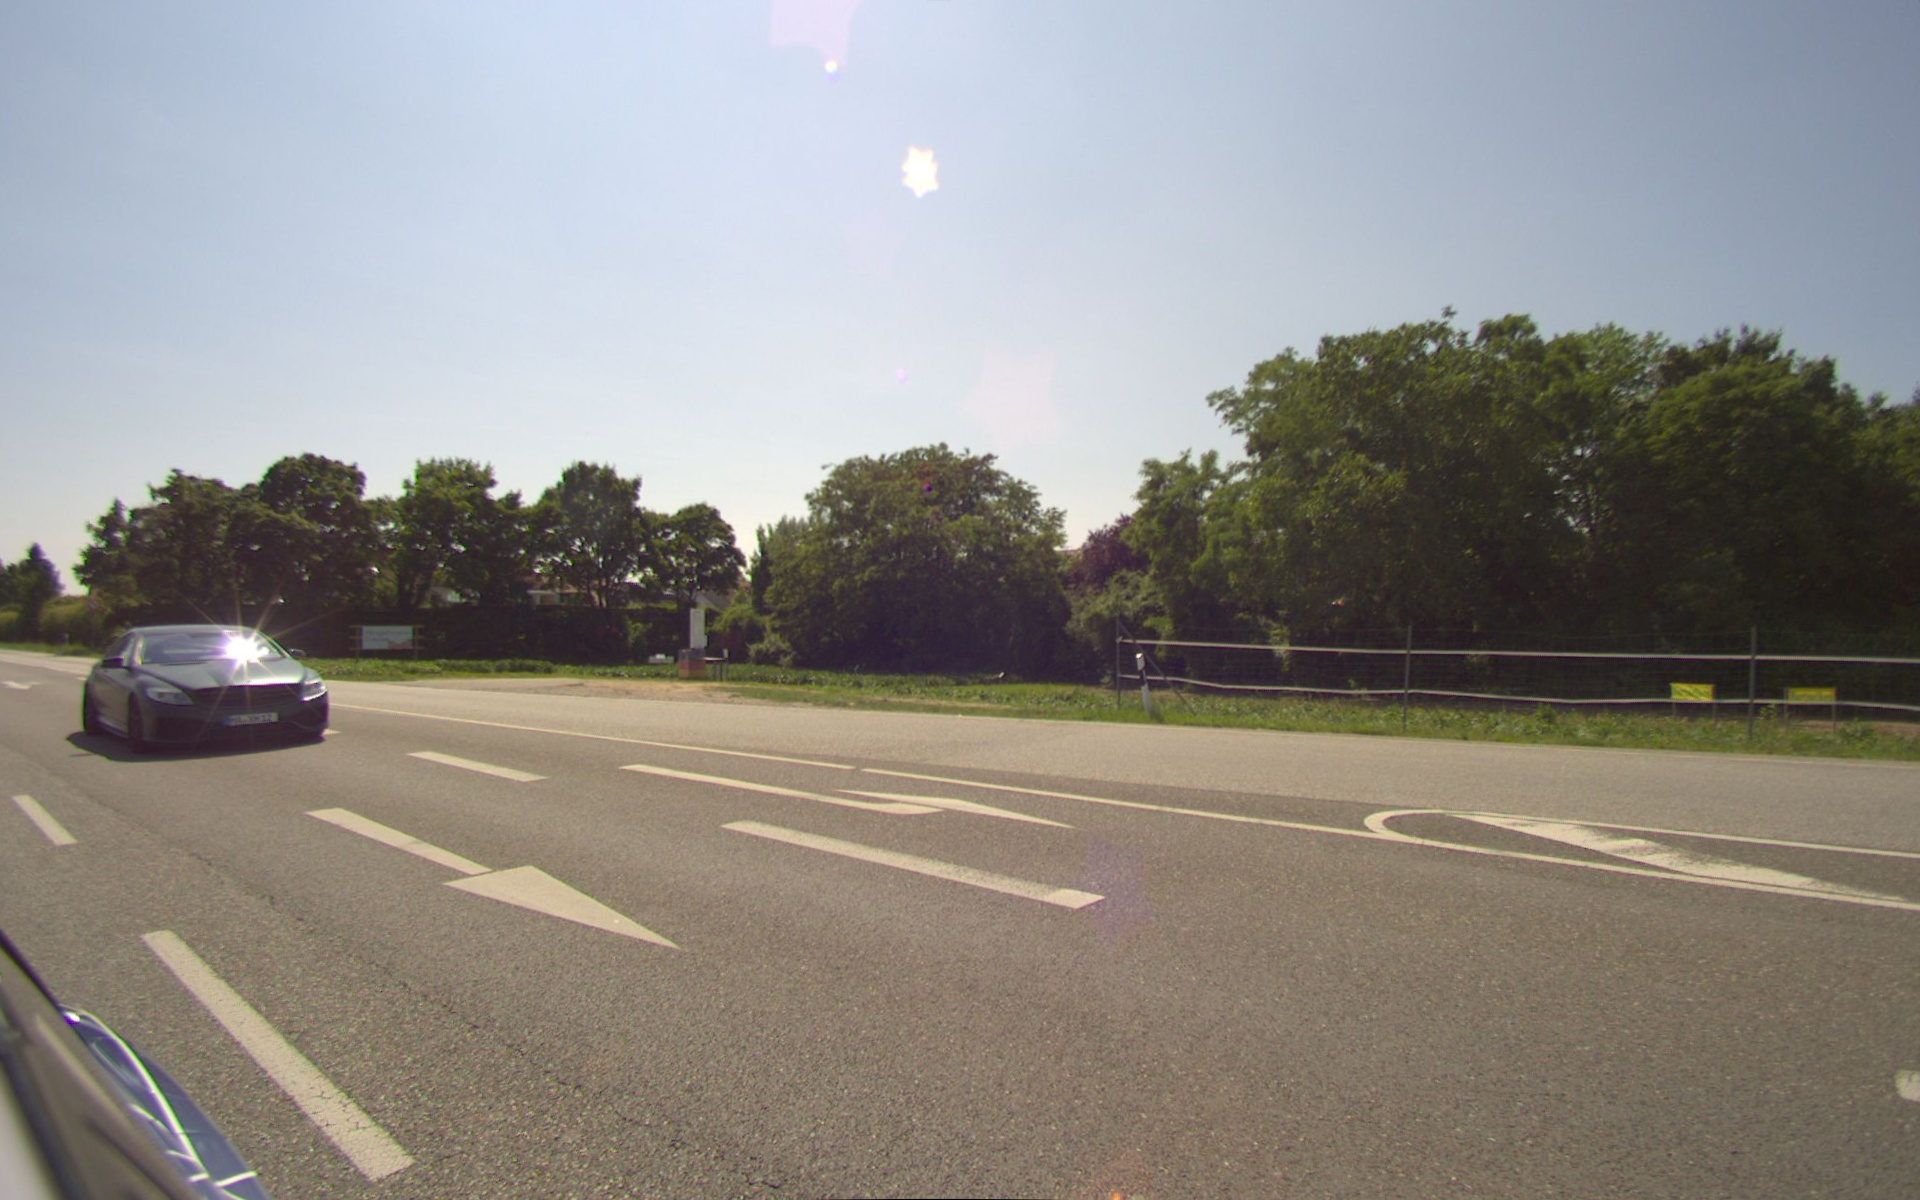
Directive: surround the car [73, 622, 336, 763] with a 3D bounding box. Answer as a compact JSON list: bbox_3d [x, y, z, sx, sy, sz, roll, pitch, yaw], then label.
[{"bbox_3d":[-9.800,1.045,12.957,4.875,1.461,1.792,-2,-2,42],"label":"car"}]
